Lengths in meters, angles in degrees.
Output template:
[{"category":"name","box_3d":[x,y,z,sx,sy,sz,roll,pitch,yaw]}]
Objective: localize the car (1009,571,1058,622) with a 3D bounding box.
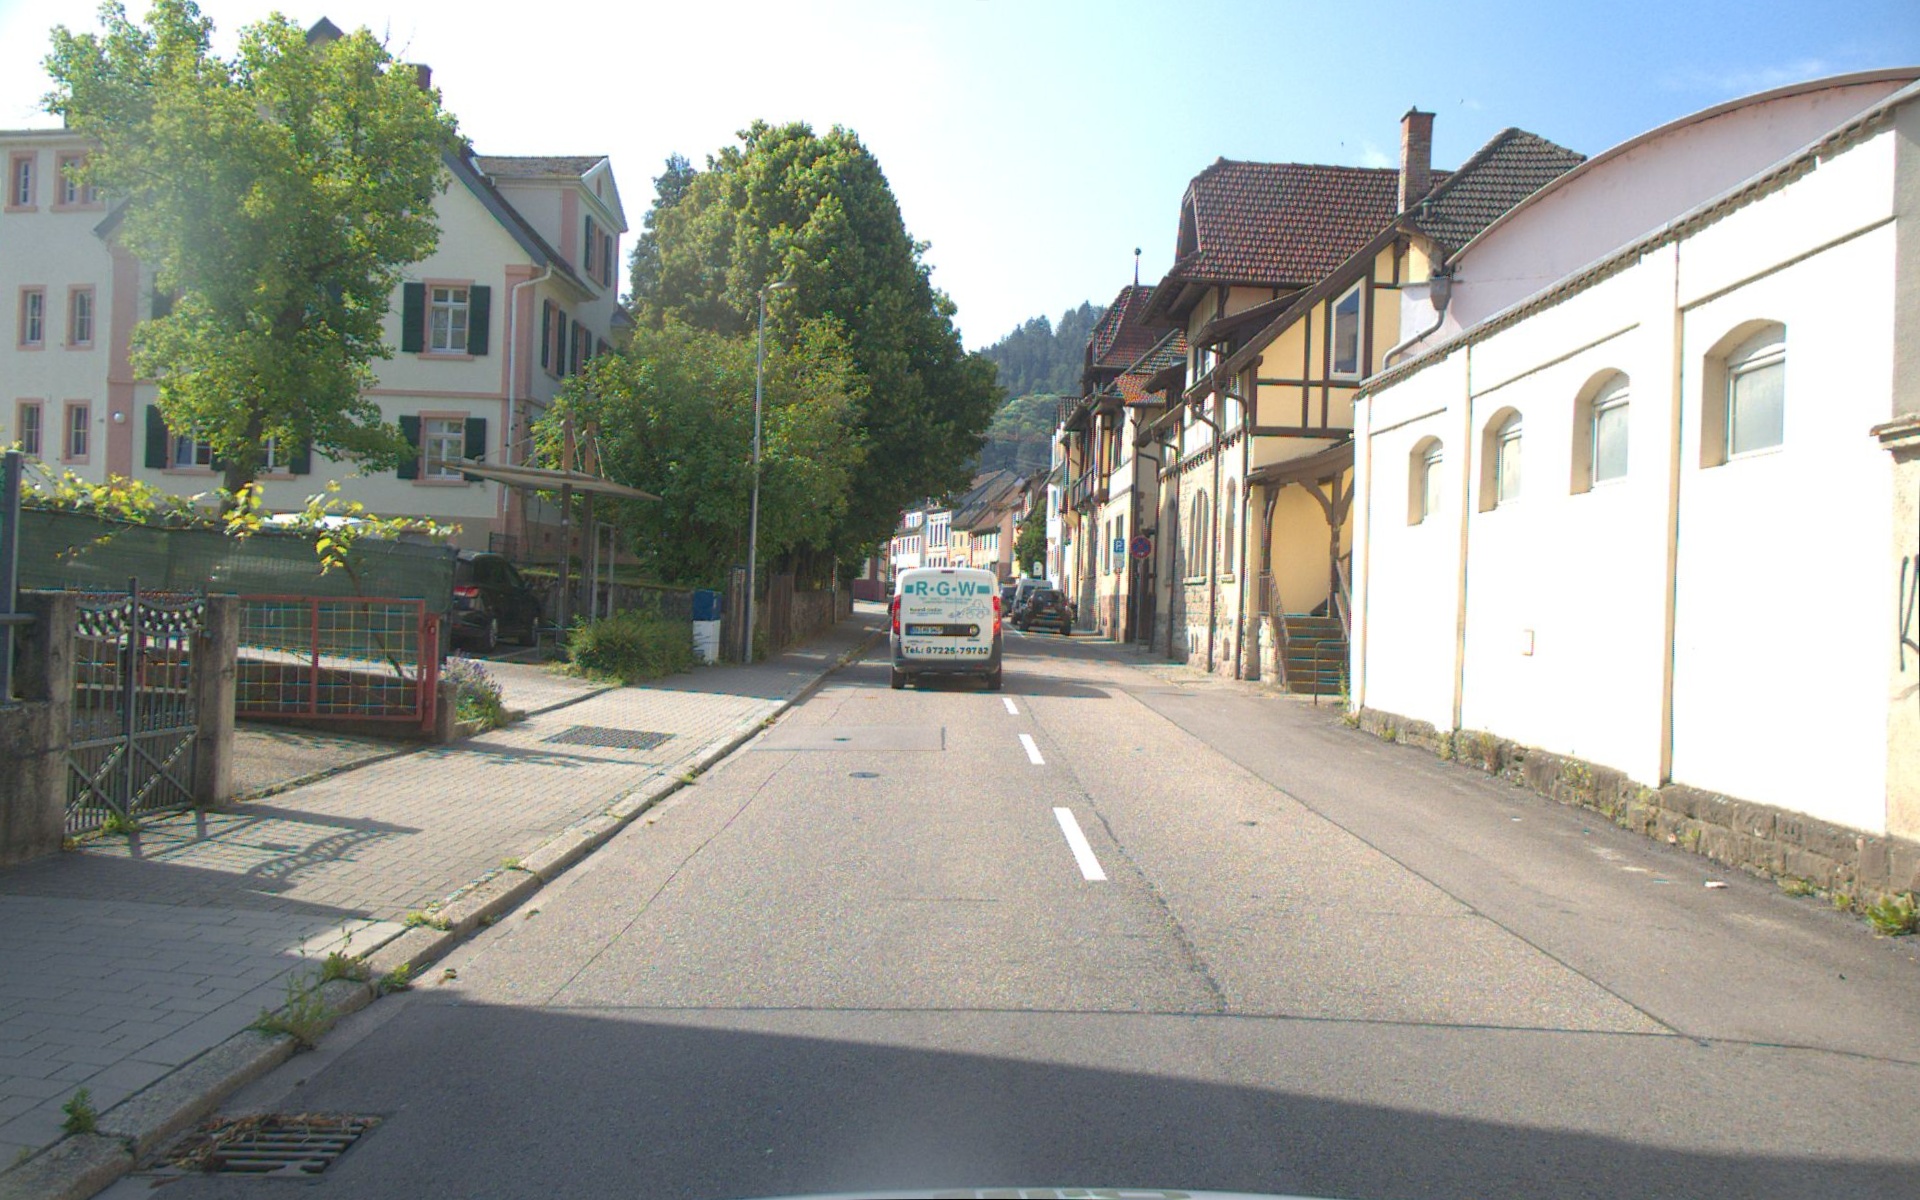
[{"category":"car","box_3d":[3.167,-0.162,71.927,1.833,2.048,3.999,3,0,-1]}]

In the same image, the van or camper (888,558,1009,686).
[{"category":"van or camper","box_3d":[-0.224,0.318,26.909,1.791,1.876,4.187,1,0,-2]}]

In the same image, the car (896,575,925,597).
[{"category":"car","box_3d":[-4.711,-1.333,156.613,1.959,1.813,3.989,4,1,-12]}]

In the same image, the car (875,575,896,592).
[{"category":"car","box_3d":[-8.414,-1.838,187.425,1.740,1.830,3.989,2,0,-12]}]

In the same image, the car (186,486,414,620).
[{"category":"car","box_3d":[-10.491,-0.713,26.693,1.787,1.802,4.680,6,0,-2]}]

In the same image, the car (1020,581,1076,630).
[{"category":"car","box_3d":[3.262,0.177,61.681,1.774,1.624,3.927,4,1,0]}]

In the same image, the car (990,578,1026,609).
[{"category":"car","box_3d":[2.550,-0.357,88.271,1.636,1.534,3.998,1,0,-2]}]

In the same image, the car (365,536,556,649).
[{"category":"car","box_3d":[-7.652,-0.146,25.767,1.582,1.487,4.394,4,1,-1]}]

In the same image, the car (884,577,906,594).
[{"category":"car","box_3d":[-7.085,-1.602,180.898,1.740,1.830,3.989,2,0,-12]}]
